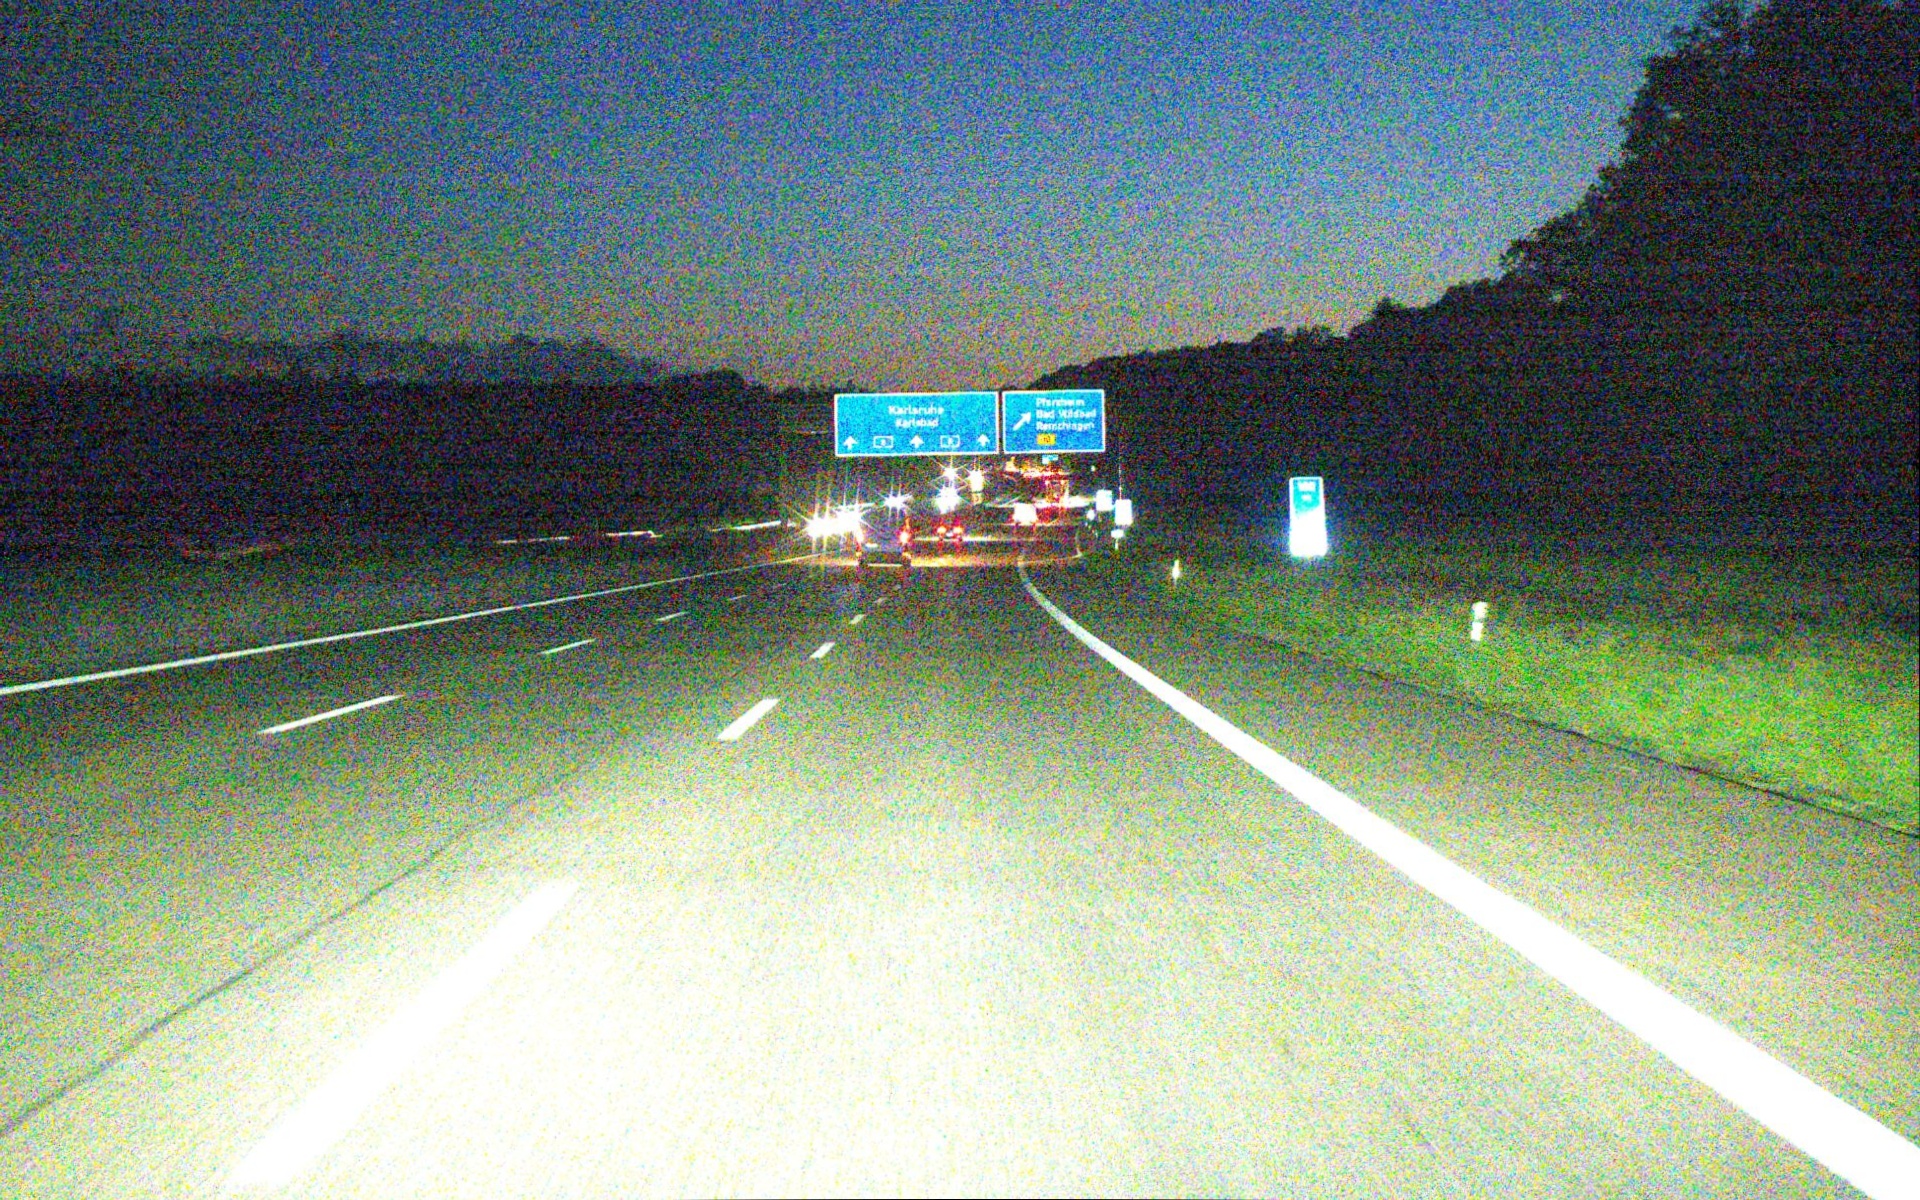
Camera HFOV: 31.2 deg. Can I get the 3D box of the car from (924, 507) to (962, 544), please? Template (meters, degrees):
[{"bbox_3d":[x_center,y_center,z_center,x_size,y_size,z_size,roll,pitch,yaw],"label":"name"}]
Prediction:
[{"bbox_3d":[-1.298,-5.660,260.938,2.786,2.724,6.299,0,1,-1],"label":"car"}]

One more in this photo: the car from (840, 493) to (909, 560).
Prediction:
[{"bbox_3d":[-3.527,-3.032,142.924,2.786,2.724,6.299,0,1,-1],"label":"car"}]
